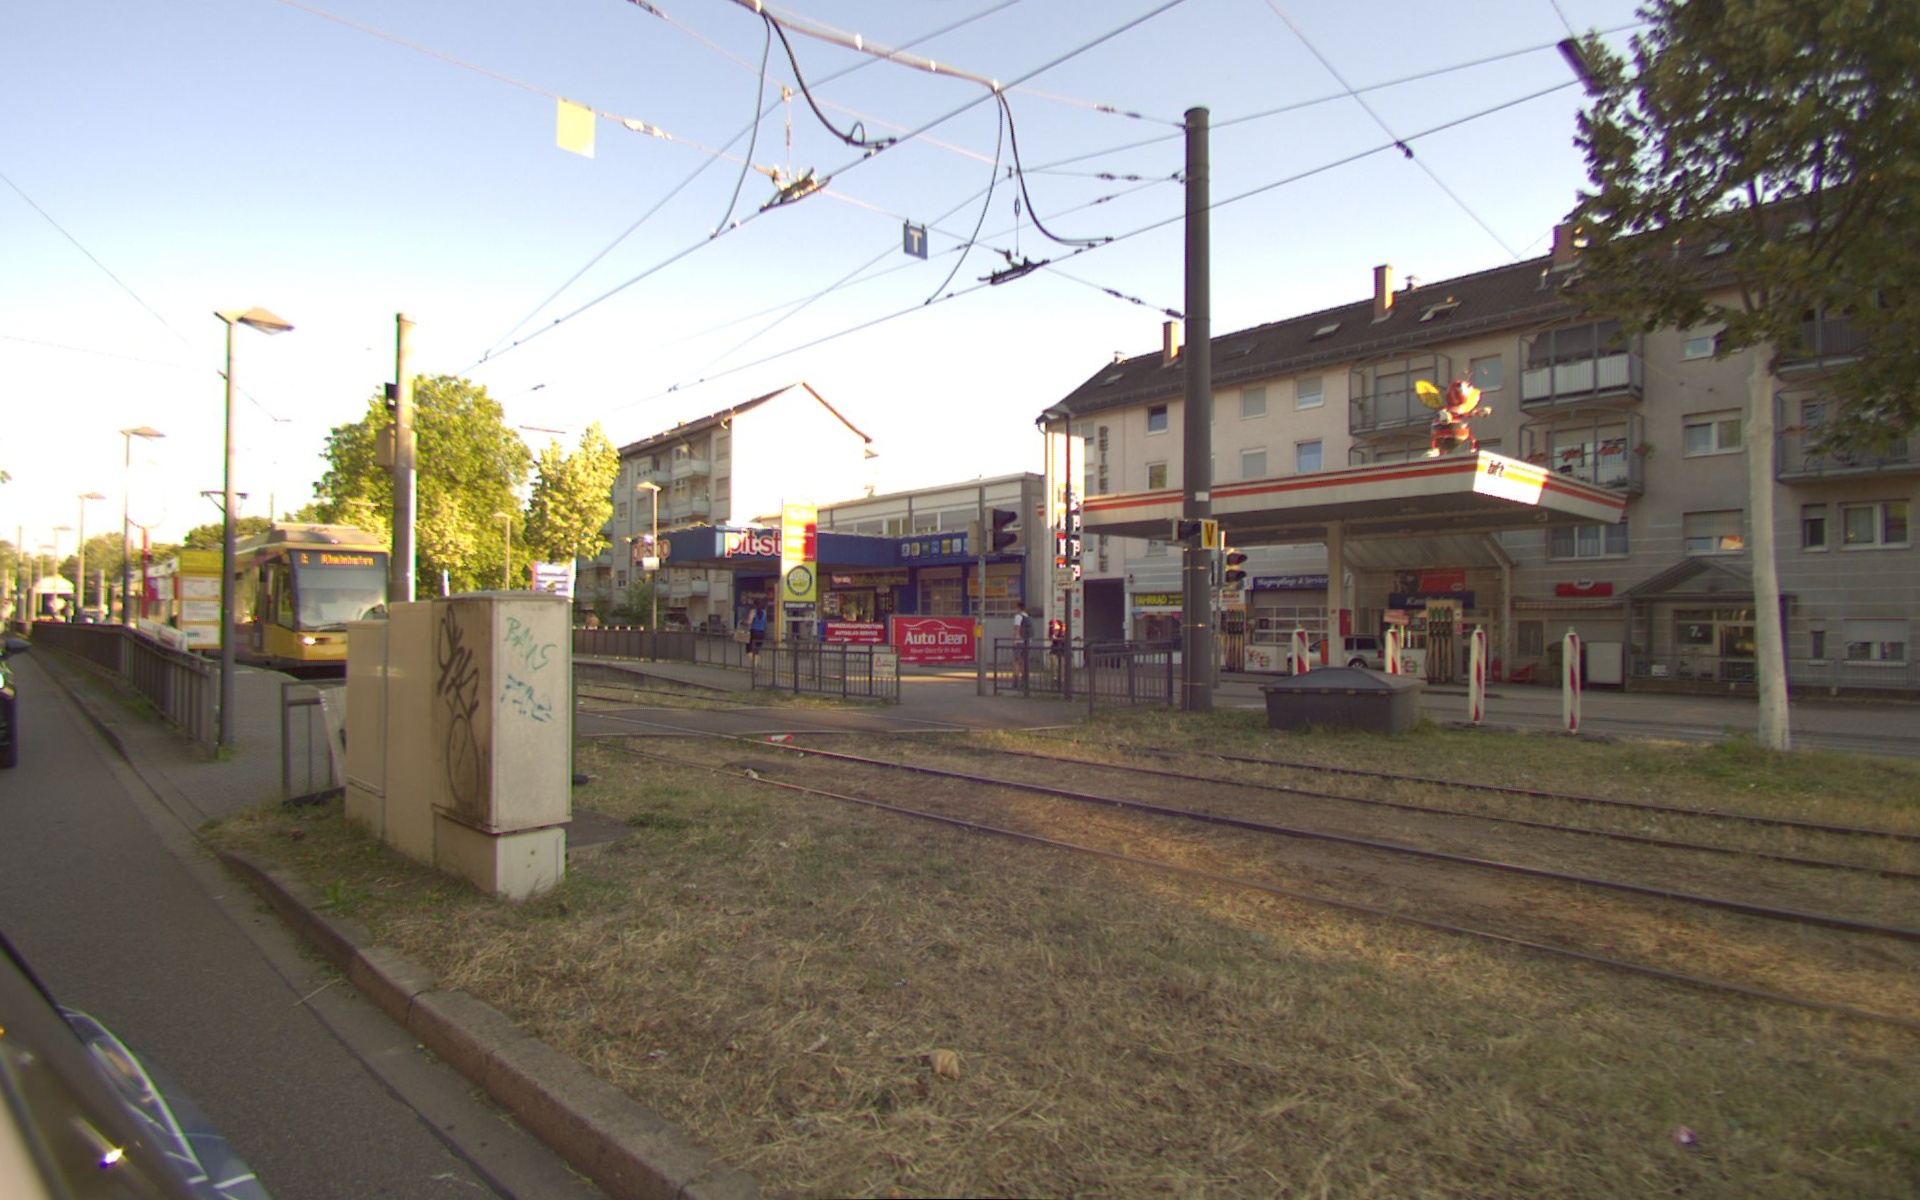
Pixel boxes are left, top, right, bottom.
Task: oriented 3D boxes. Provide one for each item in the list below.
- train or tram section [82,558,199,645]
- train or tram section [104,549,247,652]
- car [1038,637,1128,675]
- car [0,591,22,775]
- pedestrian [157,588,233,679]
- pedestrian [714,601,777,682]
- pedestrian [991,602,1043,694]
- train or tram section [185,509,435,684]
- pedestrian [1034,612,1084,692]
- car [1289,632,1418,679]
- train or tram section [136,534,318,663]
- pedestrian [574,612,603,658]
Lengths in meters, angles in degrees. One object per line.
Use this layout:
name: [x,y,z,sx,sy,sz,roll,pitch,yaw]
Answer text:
train or tram section: [-37.896,0.135,46.604,10.102,3.544,3.000,0,-3,45]
train or tram section: [-30.752,0.090,39.438,10.102,3.544,3.000,0,-3,45]
car: [5.268,2.348,43.120,3.748,1.535,1.820,2,-2,-41]
car: [-10.526,0.782,9.722,4.085,1.628,1.885,-1,0,42]
pedestrian: [-13.582,0.587,17.968,0.788,1.562,0.907,-1,-1,37]
pedestrian: [-4.563,0.863,21.554,0.923,1.666,0.926,-2,0,-44]
pedestrian: [1.240,1.022,21.864,0.755,1.947,0.848,-1,-2,43]
train or tram section: [-16.460,0.014,25.152,10.102,3.544,3.000,0,-3,45]
pedestrian: [2.255,1.162,22.999,0.860,1.760,0.745,-1,-2,43]
car: [13.782,1.905,35.579,1.790,1.535,3.833,2,-2,-43]
train or tram section: [-23.602,0.049,32.298,10.102,3.544,3.000,0,-3,45]
pedestrian: [-15.735,1.488,42.868,1.001,1.896,0.744,-1,0,45]
